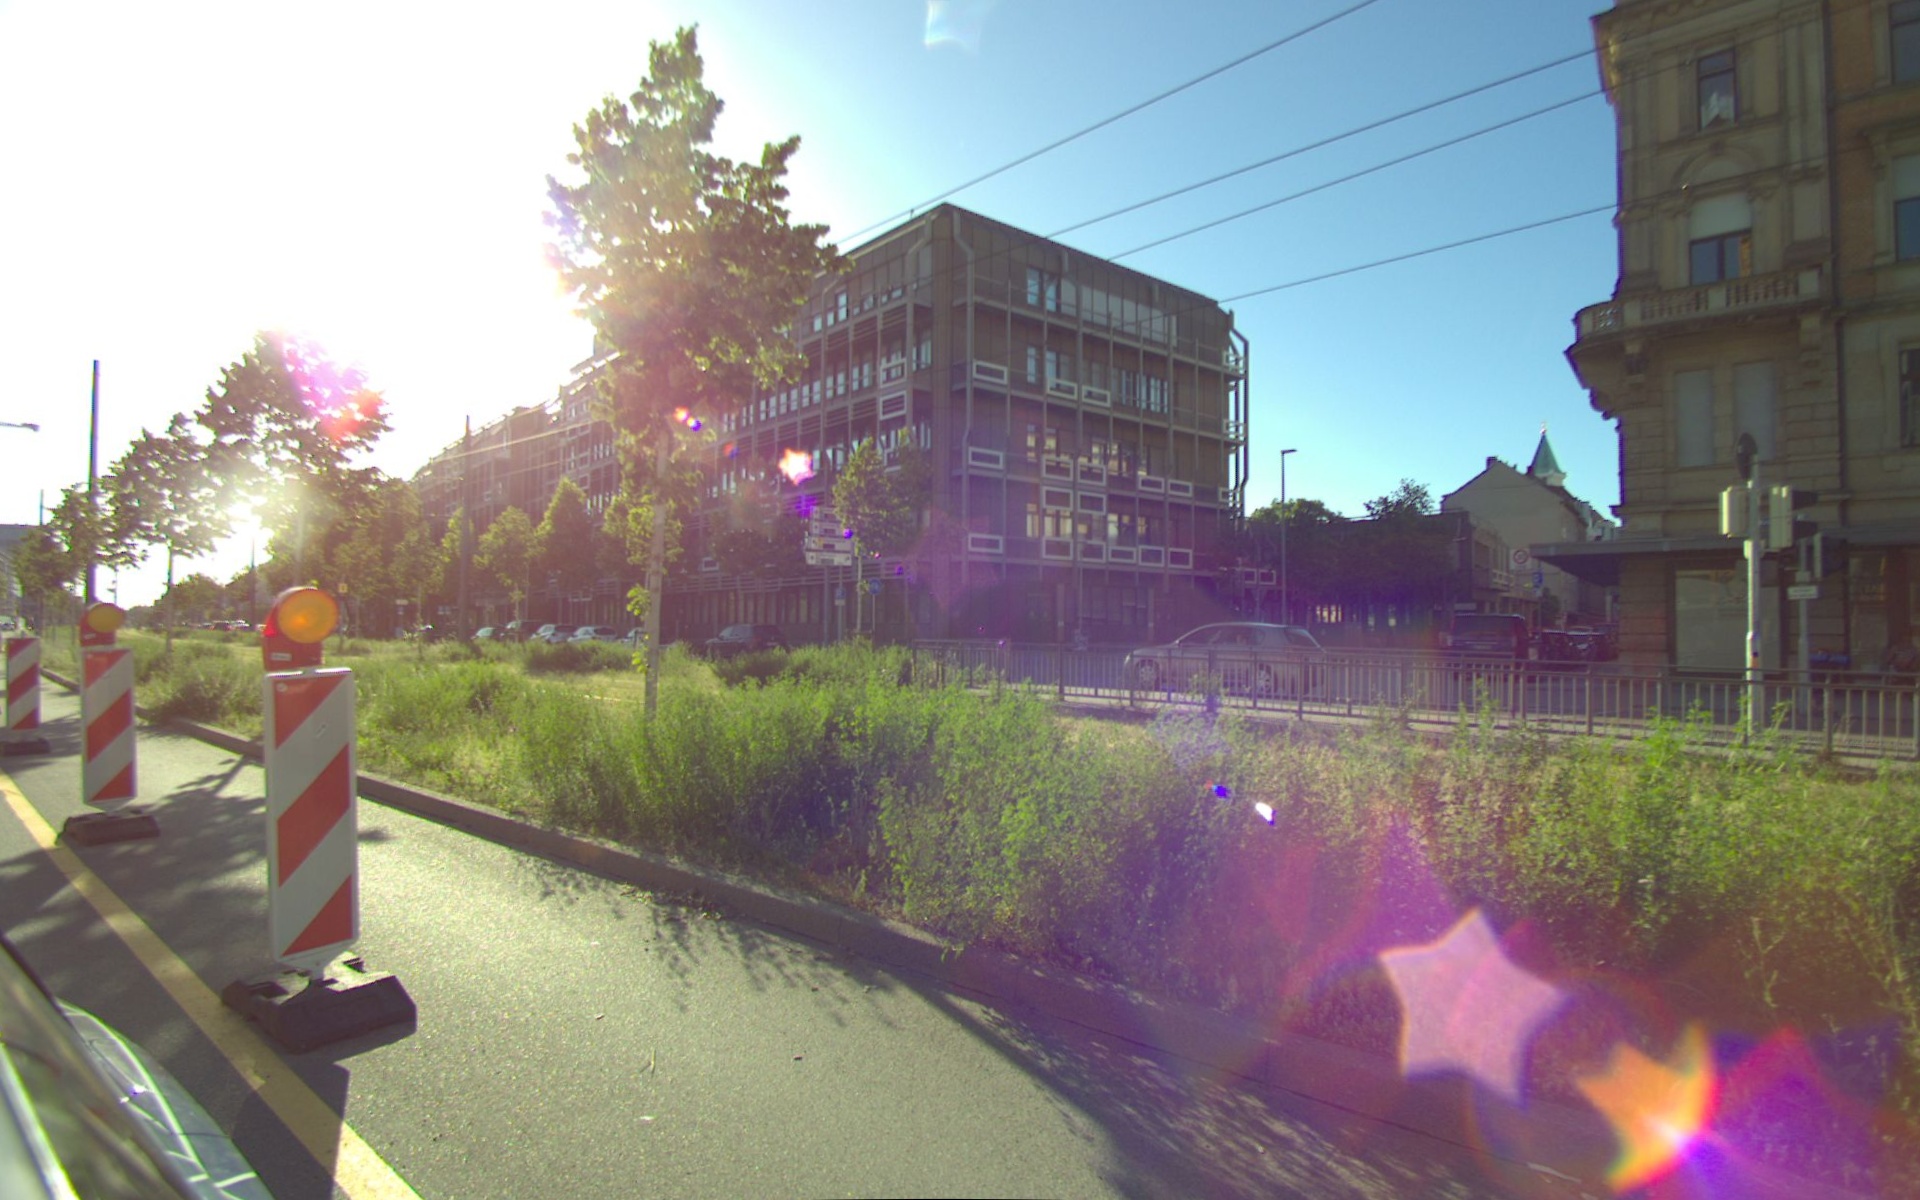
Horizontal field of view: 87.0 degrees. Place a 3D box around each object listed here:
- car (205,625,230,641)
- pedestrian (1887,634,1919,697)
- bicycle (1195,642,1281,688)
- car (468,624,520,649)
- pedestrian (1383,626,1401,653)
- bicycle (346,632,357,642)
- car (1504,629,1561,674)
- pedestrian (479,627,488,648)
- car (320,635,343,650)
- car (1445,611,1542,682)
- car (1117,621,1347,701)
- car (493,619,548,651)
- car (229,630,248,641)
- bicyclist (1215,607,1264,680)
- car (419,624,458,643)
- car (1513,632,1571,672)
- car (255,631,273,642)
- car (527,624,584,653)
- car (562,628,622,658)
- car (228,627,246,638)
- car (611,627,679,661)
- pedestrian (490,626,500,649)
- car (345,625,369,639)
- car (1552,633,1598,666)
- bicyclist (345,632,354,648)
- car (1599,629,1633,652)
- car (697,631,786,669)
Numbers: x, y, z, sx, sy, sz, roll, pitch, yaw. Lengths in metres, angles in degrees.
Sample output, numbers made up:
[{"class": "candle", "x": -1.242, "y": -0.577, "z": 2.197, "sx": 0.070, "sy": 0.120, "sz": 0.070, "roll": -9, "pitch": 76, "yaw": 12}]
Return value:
[{"class": "car", "x": -83.407, "y": 3.748, "z": 113.650, "sx": 1.707, "sy": 1.760, "sz": 4.125, "roll": 1, "pitch": -2, "yaw": -44}, {"class": "pedestrian", "x": 19.333, "y": 1.309, "z": 20.396, "sx": 0.929, "sy": 1.256, "sz": 0.683, "roll": -1, "pitch": -2, "yaw": 42}, {"class": "bicycle", "x": 6.461, "y": 1.497, "z": 23.602, "sx": 1.826, "sy": 0.985, "sz": 0.687, "roll": -1, "pitch": -2, "yaw": 42}, {"class": "car", "x": -29.421, "y": 2.302, "z": 63.853, "sx": 1.709, "sy": 1.480, "sz": 4.509, "roll": 0, "pitch": -1, "yaw": -43}, {"class": "pedestrian", "x": 24.273, "y": 2.213, "z": 56.848, "sx": 0.736, "sy": 1.527, "sz": 0.608, "roll": -1, "pitch": -3, "yaw": 43}, {"class": "bicycle", "x": -55.953, "y": 3.409, "z": 93.063, "sx": 0.558, "sy": 0.884, "sz": 1.773, "roll": 3, "pitch": -4, "yaw": -42}, {"class": "car", "x": 19.870, "y": 1.772, "z": 35.072, "sx": 1.381, "sy": 1.479, "sz": 3.116, "roll": -1, "pitch": -3, "yaw": 36}, {"class": "pedestrian", "x": -36.055, "y": 2.830, "z": 76.596, "sx": 0.514, "sy": 1.590, "sz": 0.537, "roll": 2, "pitch": -3, "yaw": -38}, {"class": "car", "x": -75.531, "y": 5.168, "z": 121.674, "sx": 1.701, "sy": 1.614, "sz": 3.635, "roll": -1, "pitch": -4, "yaw": -42}, {"class": "car", "x": 15.789, "y": 1.348, "z": 29.821, "sx": 1.895, "sy": 1.918, "sz": 4.468, "roll": -1, "pitch": -3, "yaw": 36}, {"class": "car", "x": 5.399, "y": 1.208, "z": 20.343, "sx": 4.068, "sy": 1.431, "sz": 1.833, "roll": -2, "pitch": -6, "yaw": 42}, {"class": "car", "x": -25.885, "y": 2.034, "z": 59.581, "sx": 1.729, "sy": 1.785, "sz": 4.336, "roll": 0, "pitch": -2, "yaw": -42}, {"class": "car", "x": -97.493, "y": 4.777, "z": 136.702, "sx": 1.608, "sy": 1.507, "sz": 3.783, "roll": 3, "pitch": -3, "yaw": -43}, {"class": "bicyclist", "x": 6.519, "y": 1.009, "z": 23.598, "sx": 0.882, "sy": 1.670, "sz": 0.687, "roll": -1, "pitch": -2, "yaw": 42}, {"class": "car", "x": -38.915, "y": 2.501, "z": 75.503, "sx": 1.694, "sy": 1.398, "sz": 4.046, "roll": 1, "pitch": -2, "yaw": -40}, {"class": "car", "x": 22.058, "y": 1.939, "z": 38.326, "sx": 1.577, "sy": 1.420, "sz": 3.025, "roll": -1, "pitch": -3, "yaw": 36}, {"class": "car", "x": -95.555, "y": 4.964, "z": 138.914, "sx": 1.607, "sy": 1.507, "sz": 4.424, "roll": 2, "pitch": -3, "yaw": -40}, {"class": "car", "x": -22.360, "y": 2.113, "z": 55.837, "sx": 1.716, "sy": 1.548, "sz": 3.889, "roll": 1, "pitch": -2, "yaw": -42}, {"class": "car", "x": -18.886, "y": 2.178, "z": 51.834, "sx": 1.605, "sy": 1.452, "sz": 3.824, "roll": 0, "pitch": -1, "yaw": -42}, {"class": "car", "x": -107.163, "y": 4.794, "z": 150.021, "sx": 1.837, "sy": 1.694, "sz": 3.786, "roll": 2, "pitch": -3, "yaw": -40}, {"class": "car", "x": -15.000, "y": 2.064, "z": 48.062, "sx": 1.629, "sy": 1.566, "sz": 3.972, "roll": 1, "pitch": -2, "yaw": -41}, {"class": "pedestrian", "x": -35.443, "y": 2.844, "z": 77.138, "sx": 0.514, "sy": 1.735, "sz": 0.537, "roll": 2, "pitch": -3, "yaw": -38}, {"class": "car", "x": -68.147, "y": 3.600, "z": 114.318, "sx": 1.701, "sy": 1.555, "sz": 3.636, "roll": -1, "pitch": -1, "yaw": -42}, {"class": "car", "x": 27.203, "y": 2.166, "z": 44.754, "sx": 1.483, "sy": 1.420, "sz": 3.025, "roll": -1, "pitch": -3, "yaw": 36}, {"class": "bicyclist", "x": -56.436, "y": 3.717, "z": 93.567, "sx": 0.558, "sy": 1.468, "sz": 0.706, "roll": 3, "pitch": -4, "yaw": -43}, {"class": "car", "x": 40.562, "y": 2.481, "z": 62.543, "sx": 1.597, "sy": 1.420, "sz": 3.321, "roll": -1, "pitch": -2, "yaw": 36}, {"class": "car", "x": -9.009, "y": 2.025, "z": 41.619, "sx": 3.901, "sy": 1.472, "sz": 1.710, "roll": -1, "pitch": -2, "yaw": 44}]
